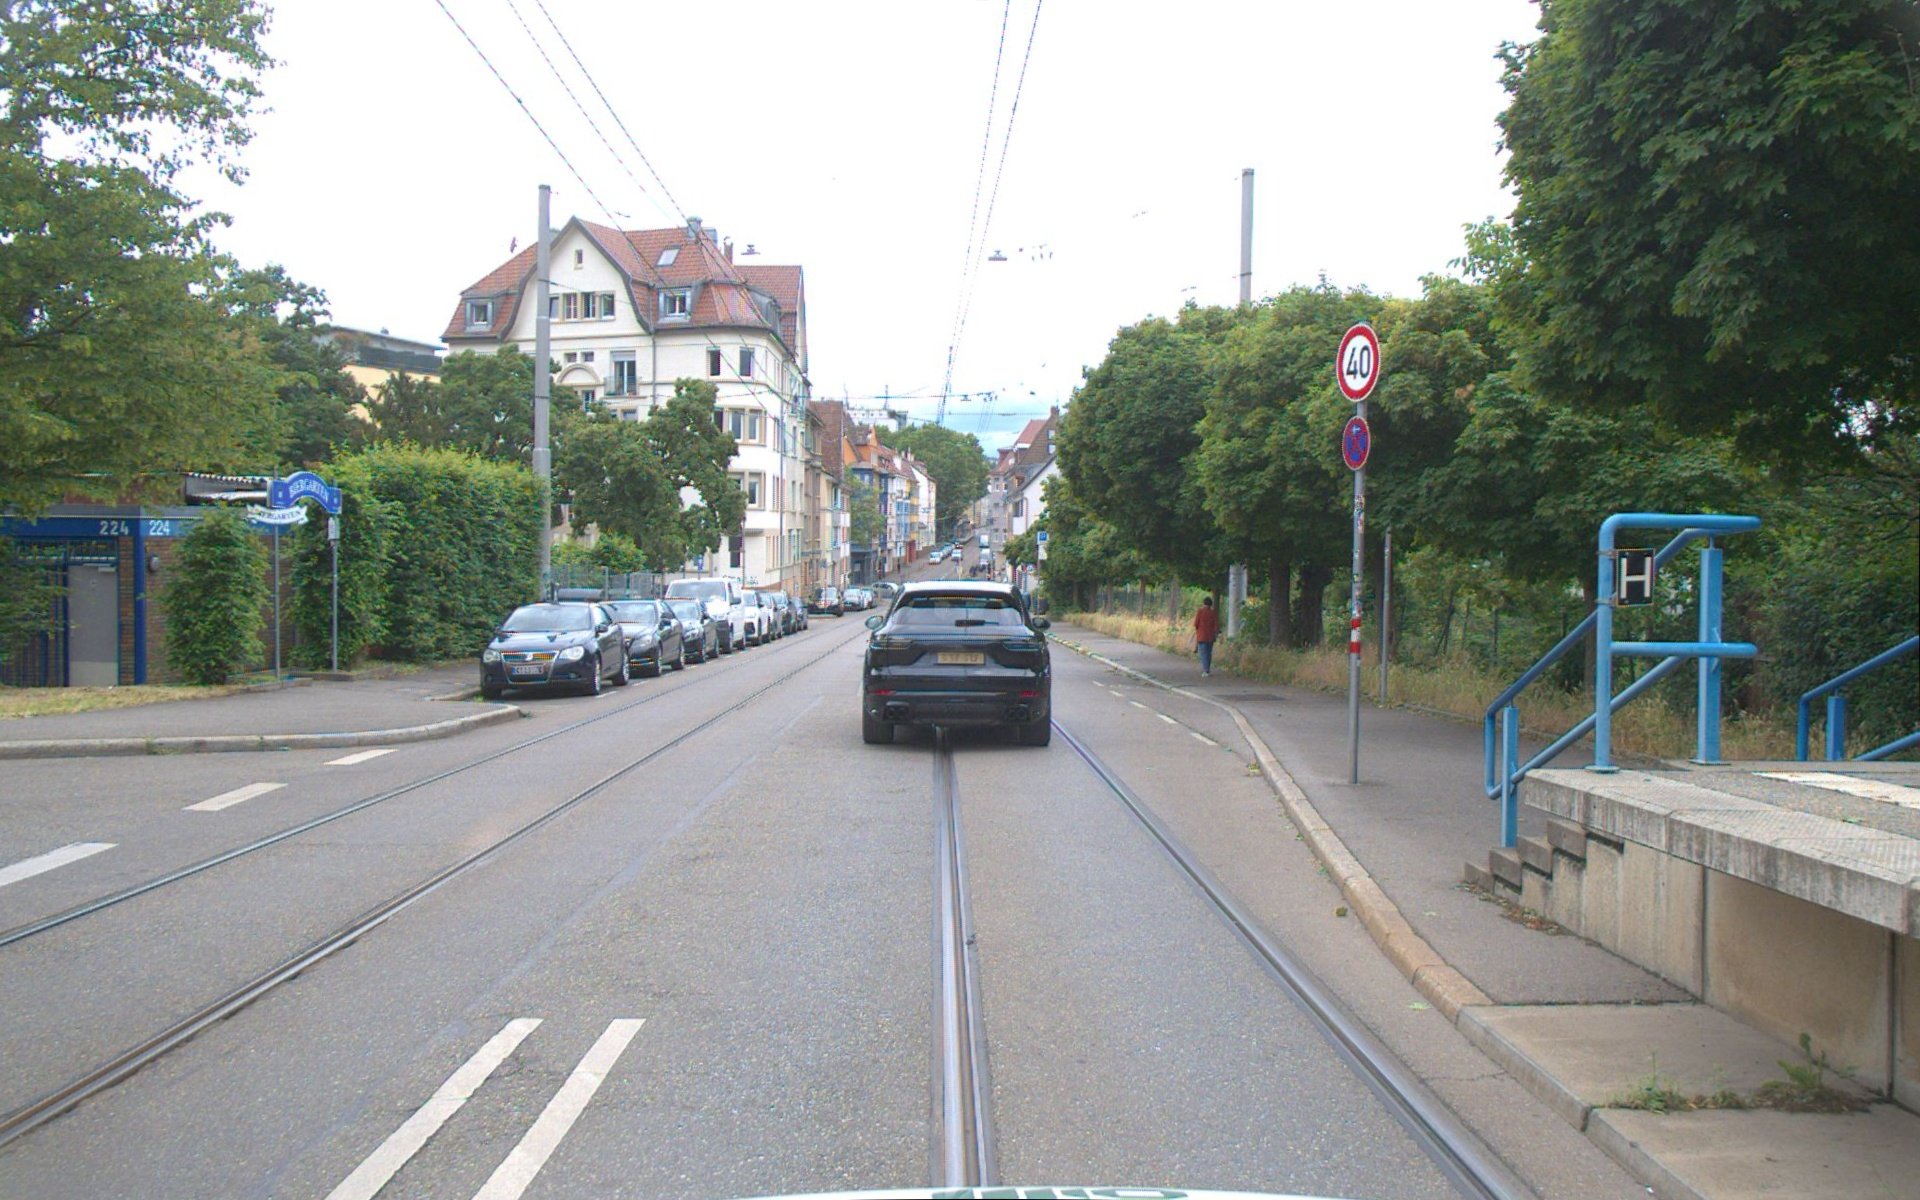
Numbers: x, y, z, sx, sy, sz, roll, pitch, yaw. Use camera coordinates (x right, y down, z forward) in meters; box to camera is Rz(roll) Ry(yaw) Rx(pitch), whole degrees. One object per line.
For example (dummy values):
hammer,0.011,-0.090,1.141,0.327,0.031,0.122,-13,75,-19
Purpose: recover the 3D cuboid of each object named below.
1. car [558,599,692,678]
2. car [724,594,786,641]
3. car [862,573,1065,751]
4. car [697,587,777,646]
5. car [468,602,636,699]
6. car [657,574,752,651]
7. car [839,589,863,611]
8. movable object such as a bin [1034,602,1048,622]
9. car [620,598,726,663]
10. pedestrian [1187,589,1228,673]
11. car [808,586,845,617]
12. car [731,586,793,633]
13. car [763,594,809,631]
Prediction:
car,-6.415,0.728,32.115,1.803,1.411,4.438,0,-1,-2
car,-6.858,0.594,55.694,1.703,1.535,3.867,0,-1,-2
car,0.005,0.611,18.121,1.953,1.705,3.999,1,0,-1
car,-6.718,0.519,50.314,1.929,1.716,4.631,0,-1,-2
car,-6.402,0.773,26.396,1.754,1.429,4.159,0,-1,-2
car,-6.798,0.350,44.466,1.929,1.946,4.733,0,-1,-2
car,-7.740,-0.002,117.953,1.588,1.489,4.031,0,-1,-2
movable object such as a bin,4.998,0.720,101.787,0.776,1.239,0.788,1,0,-4
car,-6.603,0.707,38.492,1.803,1.411,4.516,0,-1,-2
pedestrian,4.980,0.615,33.277,0.700,1.649,0.718,1,-1,-1
car,-7.508,0.122,93.181,1.830,1.675,4.400,0,-1,-2
car,-7.378,0.377,61.984,1.929,1.716,4.442,0,-1,-2
car,-7.167,0.541,68.570,1.588,1.503,4.154,0,-1,-2
